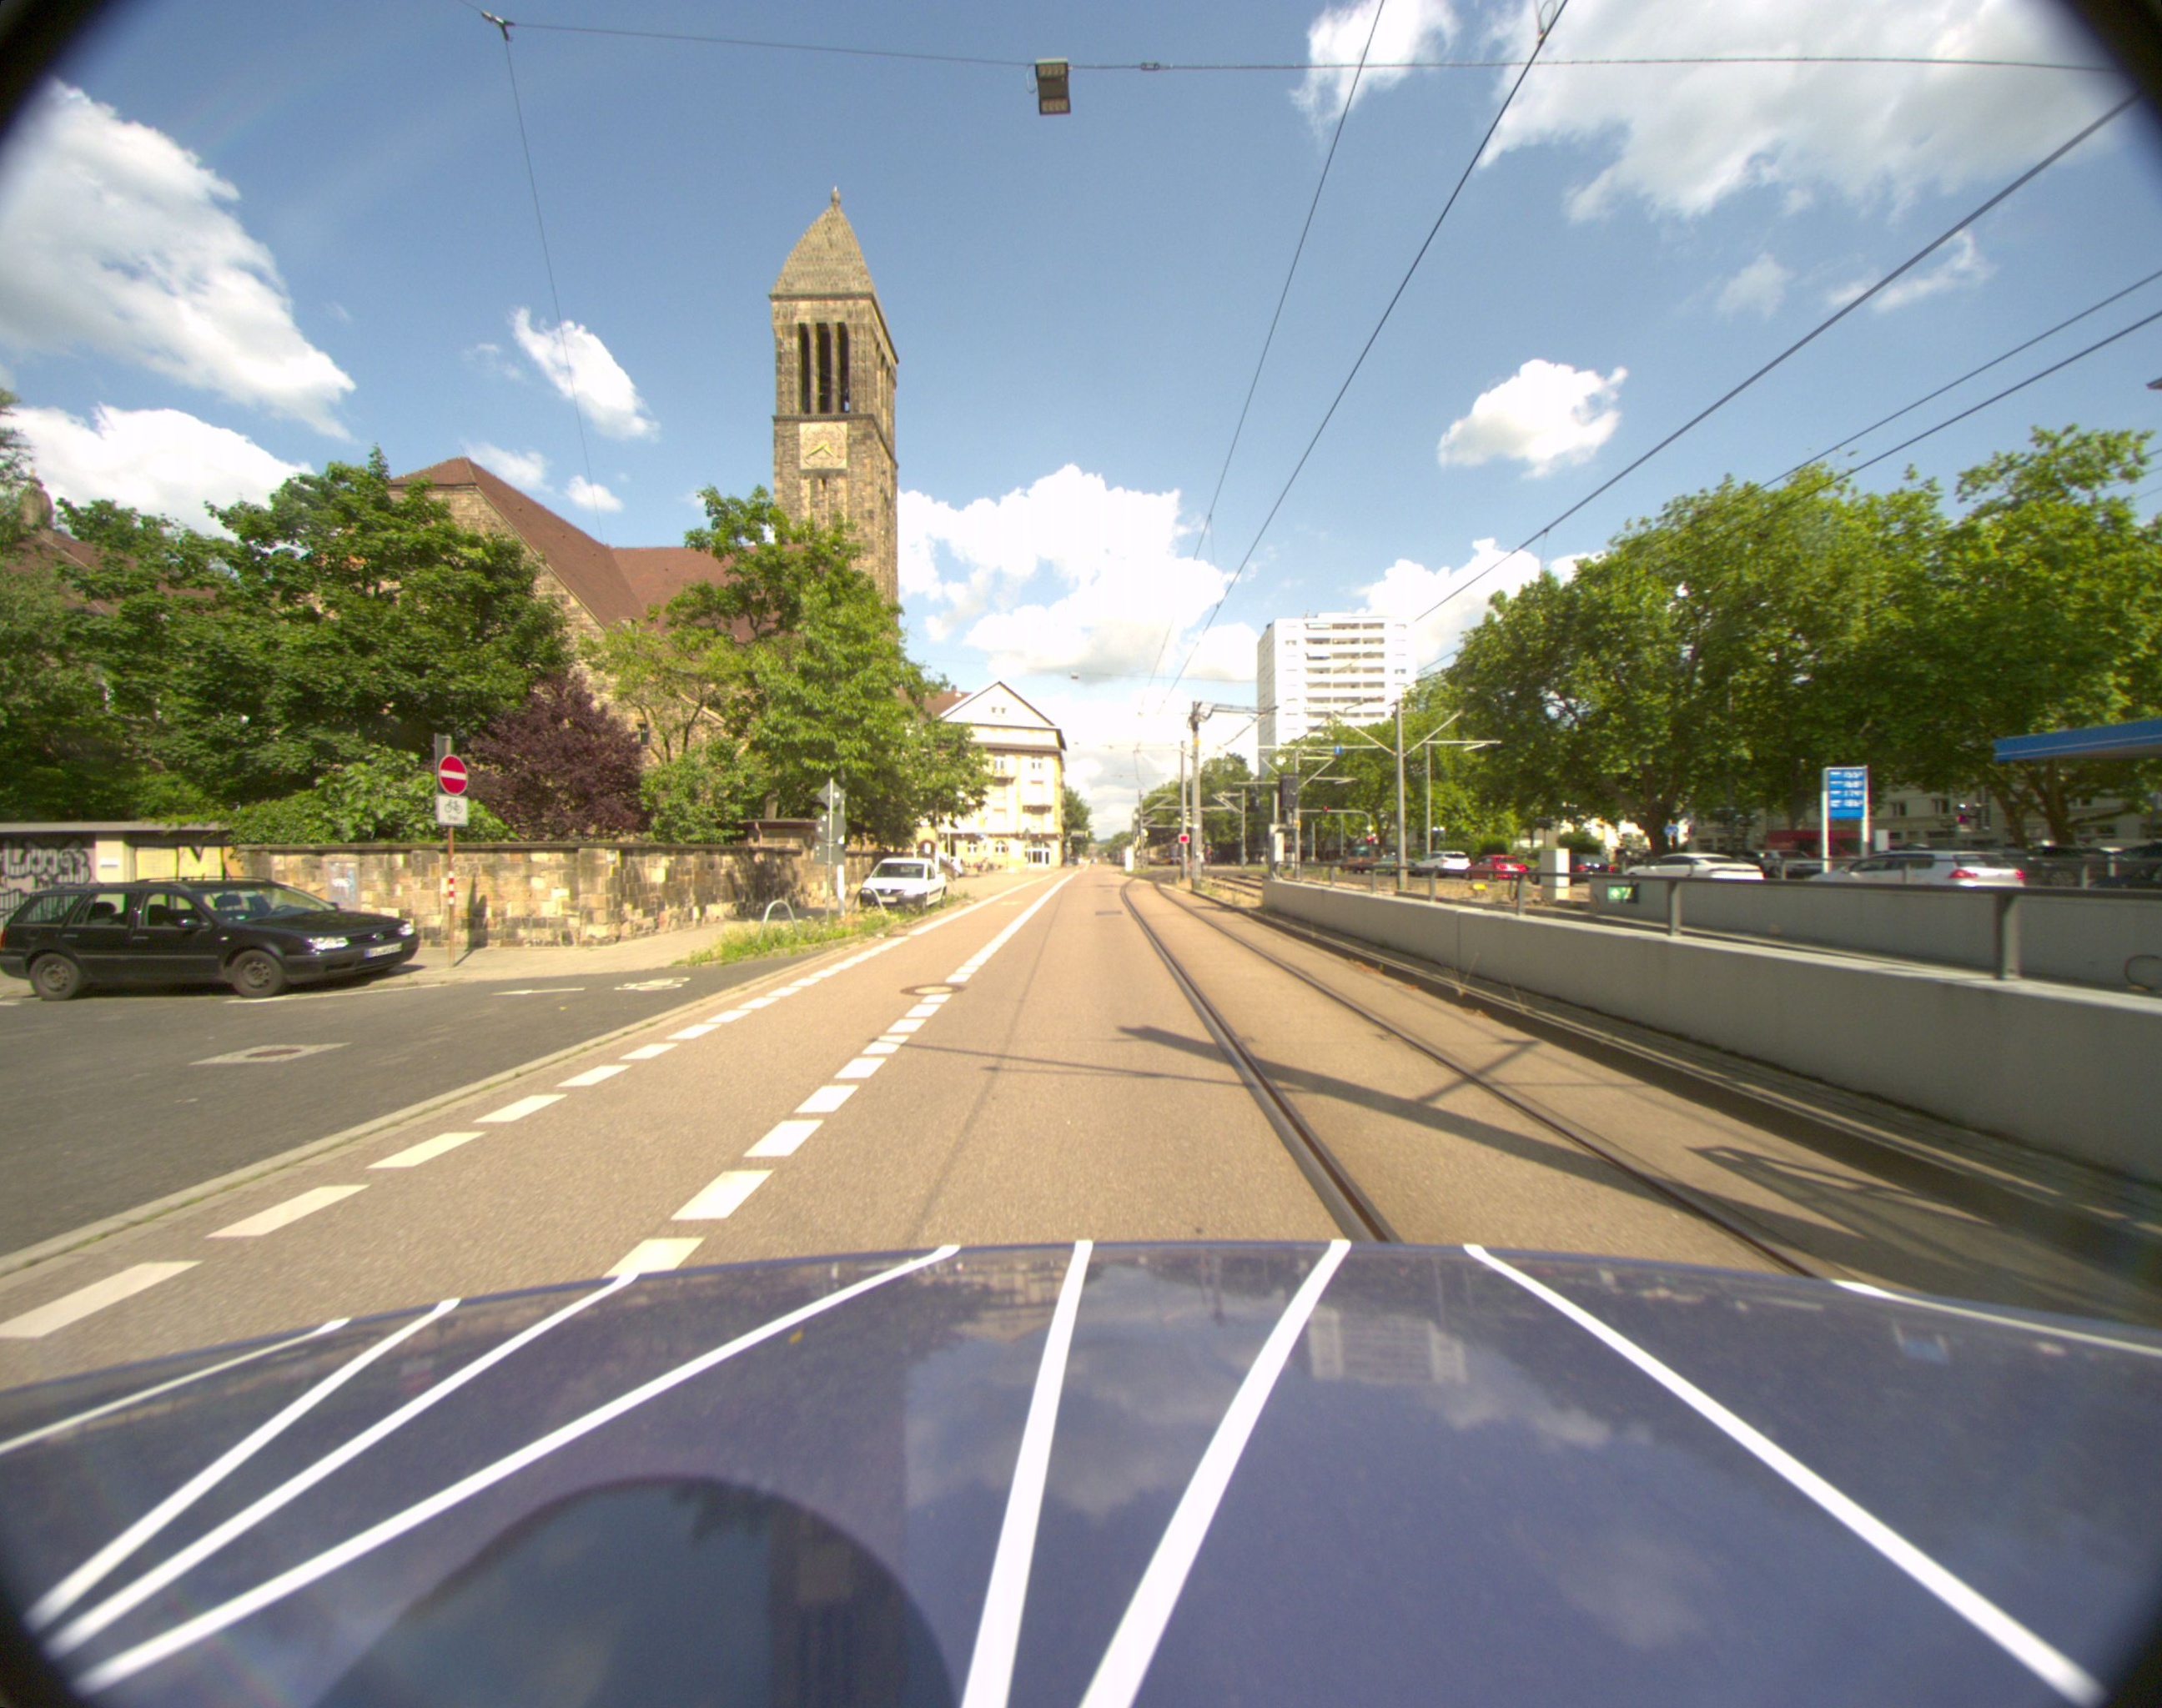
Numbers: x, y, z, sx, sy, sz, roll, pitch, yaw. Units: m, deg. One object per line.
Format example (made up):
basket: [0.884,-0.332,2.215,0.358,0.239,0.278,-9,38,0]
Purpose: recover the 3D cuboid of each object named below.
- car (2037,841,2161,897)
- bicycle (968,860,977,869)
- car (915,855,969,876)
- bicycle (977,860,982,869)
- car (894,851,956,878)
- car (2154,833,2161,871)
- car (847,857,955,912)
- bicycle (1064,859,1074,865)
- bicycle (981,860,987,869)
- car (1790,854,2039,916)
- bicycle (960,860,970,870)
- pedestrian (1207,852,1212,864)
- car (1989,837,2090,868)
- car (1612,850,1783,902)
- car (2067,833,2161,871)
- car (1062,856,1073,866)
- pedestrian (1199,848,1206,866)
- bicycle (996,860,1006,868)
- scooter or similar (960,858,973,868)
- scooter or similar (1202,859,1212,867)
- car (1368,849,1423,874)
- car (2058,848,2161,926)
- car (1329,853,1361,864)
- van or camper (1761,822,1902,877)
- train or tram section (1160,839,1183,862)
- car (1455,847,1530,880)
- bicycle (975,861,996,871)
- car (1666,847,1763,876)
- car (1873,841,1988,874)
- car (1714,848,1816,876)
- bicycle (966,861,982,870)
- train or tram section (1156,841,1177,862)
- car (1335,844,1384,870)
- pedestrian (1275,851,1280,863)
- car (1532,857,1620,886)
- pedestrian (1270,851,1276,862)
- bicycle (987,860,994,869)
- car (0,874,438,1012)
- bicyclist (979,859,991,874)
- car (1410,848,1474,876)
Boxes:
car: [31.827,0.438,22.588,1.907,1.597,3.876,0,-2,1]
bicycle: [-13.160,1.290,91.788,0.541,1.013,1.924,-1,3,-25]
car: [-10.450,0.881,57.369,3.776,1.538,1.798,-1,0,-1]
bicycle: [-12.151,1.284,90.880,0.540,1.013,1.926,0,2,-10]
car: [-11.079,0.717,54.043,4.013,1.813,1.863,-1,0,-2]
car: [60.700,-0.094,39.588,1.999,2.074,5.251,2,0,-4]
car: [-5.180,0.840,22.355,1.671,1.408,3.847,-2,-1,9]
bicycle: [-2.077,1.299,130.266,1.693,0.980,0.497,-1,0,-2]
bicycle: [-11.644,1.269,91.212,0.540,1.013,1.926,0,2,-10]
car: [21.223,0.718,19.689,1.726,1.408,4.406,0,0,2]
bicycle: [-13.767,1.283,90.171,0.541,1.013,1.923,-1,3,-28]
pedestrian: [18.953,0.591,112.174,0.671,1.693,0.648,-1,0,3]
car: [67.950,-0.109,53.950,3.927,2.002,2.257,2,0,8]
car: [21.457,0.721,26.794,1.952,1.597,5.077,-2,0,1]
car: [55.454,-0.087,39.608,1.998,1.923,4.682,2,0,0]
car: [-2.443,1.311,137.757,1.851,1.779,4.000,2,0,0]
pedestrian: [11.457,0.293,71.778,0.528,1.722,0.557,1,0,-4]
bicycle: [-9.844,1.219,93.089,0.611,1.013,1.872,-1,2,-27]
scooter or similar: [-11.726,0.907,77.723,1.133,0.971,0.888,-1,0,-29]
scooter or similar: [11.870,0.838,71.809,0.840,0.799,0.553,-1,0,-3]
car: [22.406,0.539,54.393,1.871,1.642,5.154,1,0,1]
car: [20.514,0.595,13.503,1.672,1.408,3.784,-1,0,6]
car: [37.619,0.668,108.232,4.002,1.481,1.858,-1,0,-16]
van or camper: [38.664,-0.209,39.409,2.107,2.626,5.350,2,0,2]
train or tram section: [14.670,-0.520,124.250,2.802,3.540,11.378,-1,0,2]
car: [21.552,0.525,39.948,1.716,1.597,4.145,0,-2,1]
bicycle: [-9.911,1.265,78.589,2.138,0.983,0.650,0,0,-40]
car: [33.095,0.383,39.854,1.757,1.402,4.000,0,0,0]
car: [44.191,0.174,39.671,1.529,1.594,4.000,1,0,0]
car: [35.827,0.395,39.959,1.757,1.402,4.000,0,0,0]
bicycle: [-12.559,1.341,89.080,1.932,1.013,0.538,-2,3,-41]
train or tram section: [15.119,-0.361,135.479,2.812,3.540,11.183,-1,0,2]
car: [22.441,0.323,61.482,2.080,1.974,5.337,0,-2,1]
pedestrian: [28.531,0.409,110.405,0.671,1.693,0.648,-1,0,3]
car: [21.625,0.719,33.377,1.620,1.182,3.634,-1,0,2]
pedestrian: [28.272,0.387,112.042,0.671,1.693,0.648,-1,0,3]
bicycle: [-10.858,1.256,91.212,0.602,1.013,1.876,0,2,2]
car: [-11.619,1.129,10.266,4.263,1.547,1.756,-1,3,-1]
bicyclist: [-9.926,1.288,78.523,0.923,1.494,0.651,-1,-2,-28]
car: [22.209,0.482,46.970,1.764,1.597,4.679,0,0,1]
